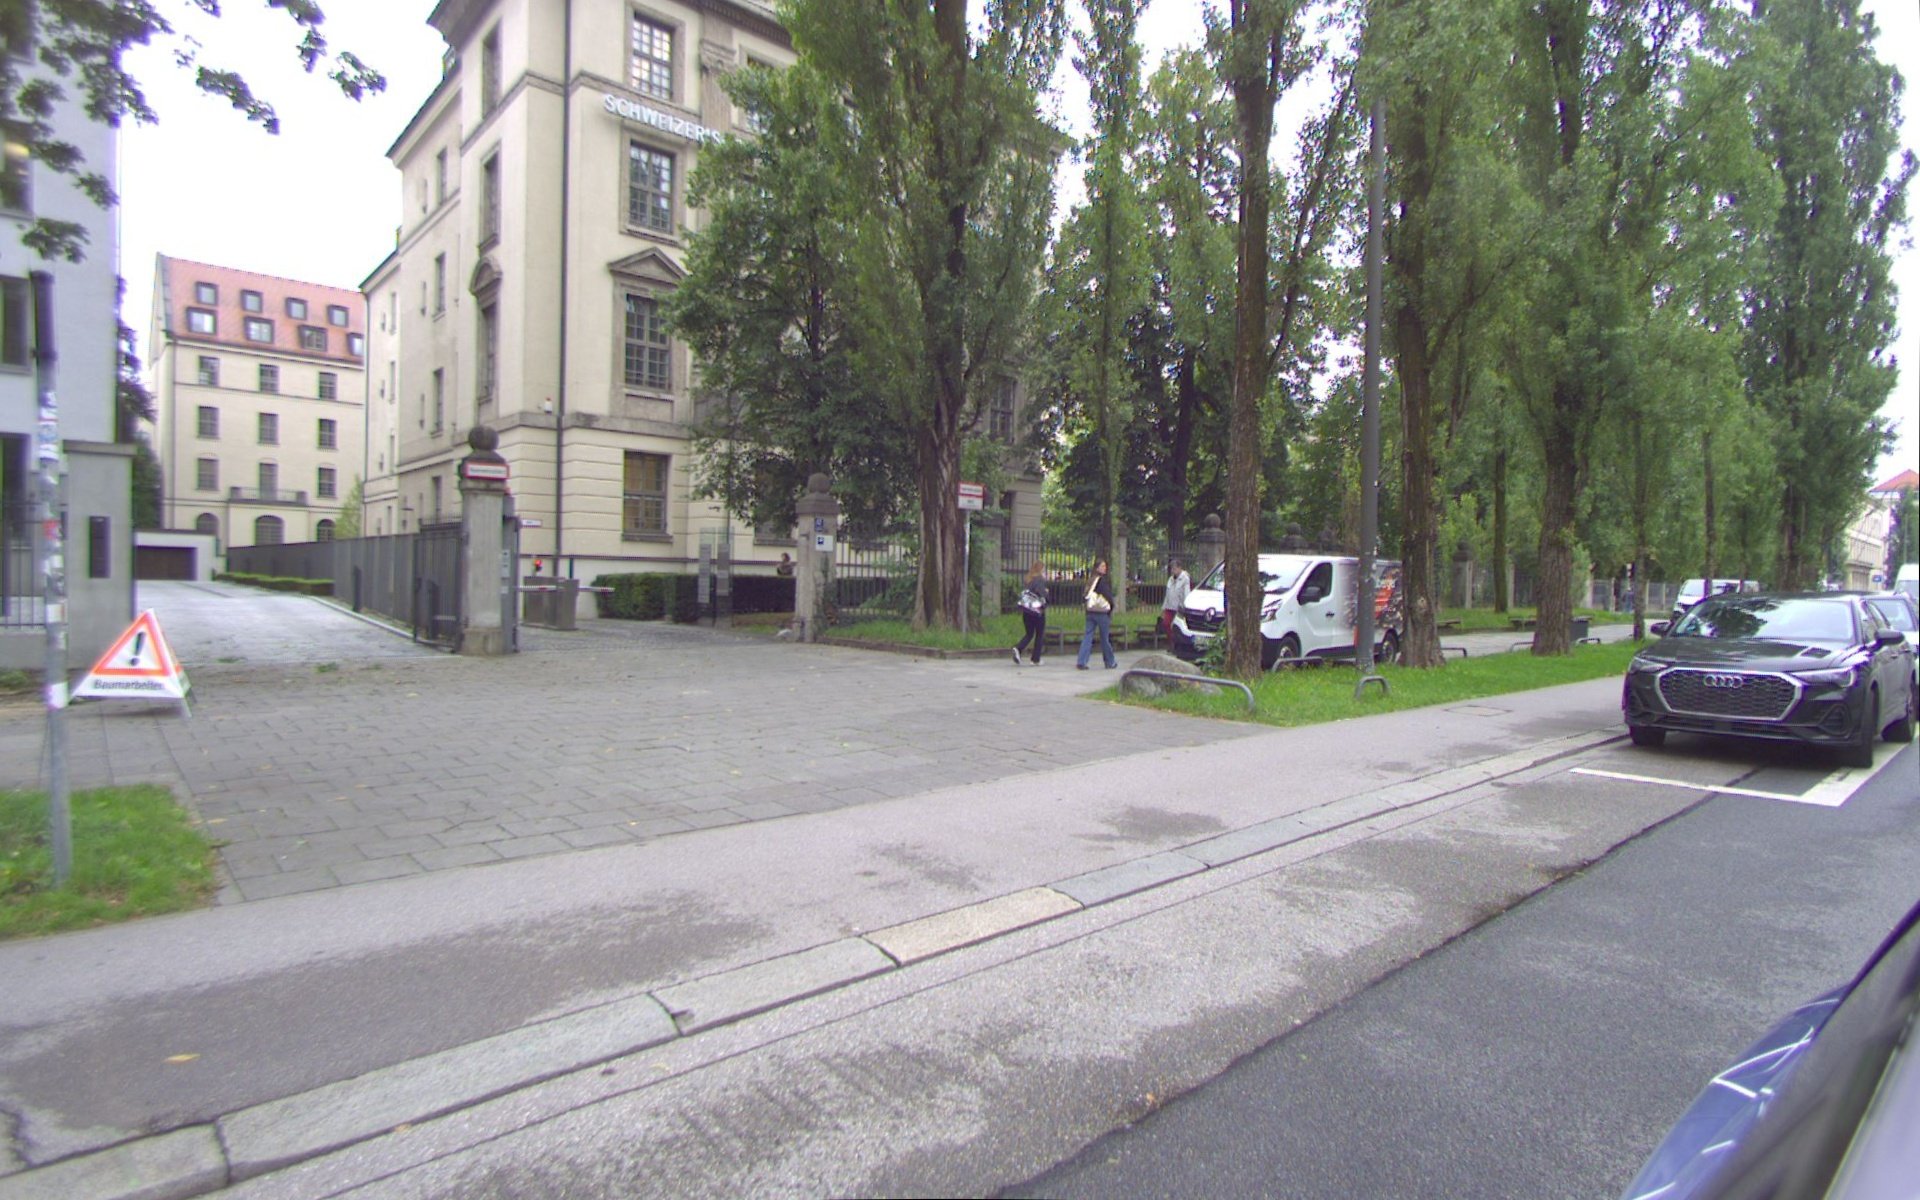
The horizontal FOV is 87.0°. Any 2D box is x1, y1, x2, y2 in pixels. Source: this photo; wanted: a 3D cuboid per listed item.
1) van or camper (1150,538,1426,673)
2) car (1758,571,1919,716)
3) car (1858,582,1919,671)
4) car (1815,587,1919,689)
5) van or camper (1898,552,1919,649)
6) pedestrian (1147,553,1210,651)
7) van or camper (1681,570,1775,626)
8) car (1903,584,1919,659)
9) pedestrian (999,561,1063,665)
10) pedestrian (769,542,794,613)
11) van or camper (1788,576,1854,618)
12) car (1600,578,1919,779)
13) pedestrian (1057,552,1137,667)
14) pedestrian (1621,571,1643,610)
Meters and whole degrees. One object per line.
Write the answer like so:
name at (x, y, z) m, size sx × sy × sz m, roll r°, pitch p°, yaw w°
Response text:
van or camper at (5.717, 0.075, 17.241) m, size 5.275 × 1.958 × 2.080 m, roll 0°, pitch 0°, yaw -41°
car at (12.562, 0.506, 13.909) m, size 4.500 × 1.696 × 1.746 m, roll 0°, pitch 1°, yaw -42°
car at (19.683, 0.509, 20.439) m, size 4.558 × 1.638 × 1.787 m, roll 0°, pitch 1°, yaw -42°
car at (16.080, 0.589, 17.249) m, size 4.221 × 1.539 × 1.705 m, roll 0°, pitch 1°, yaw -42°
van or camper at (28.350, 0.033, 28.557) m, size 6.306 × 2.572 × 2.142 m, roll 0°, pitch 1°, yaw -42°
pedestrian at (4.193, 0.027, 19.396) m, size 0.852 × 1.791 × 0.723 m, roll 0°, pitch 4°, yaw -41°
van or camper at (29.031, -0.077, 38.193) m, size 4.952 × 1.958 × 1.978 m, roll 0°, pitch 0°, yaw -42°
car at (23.580, 0.515, 23.810) m, size 4.344 × 1.669 × 1.786 m, roll 0°, pitch 1°, yaw -44°
pedestrian at (1.130, 0.194, 16.083) m, size 0.852 × 1.598 × 0.568 m, roll 0°, pitch 2°, yaw -42°
pedestrian at (-5.163, -0.658, 29.257) m, size 0.536 × 2.038 × 0.456 m, roll 0°, pitch 1°, yaw -41°
van or camper at (43.340, -0.152, 50.920) m, size 4.902 × 2.039 × 2.005 m, roll 0°, pitch 0°, yaw -43°
car at (8.225, 0.613, 10.138) m, size 4.386 × 1.560 × 1.884 m, roll 0°, pitch 1°, yaw -41°
pedestrian at (2.161, 0.131, 16.006) m, size 0.852 × 1.738 × 0.855 m, roll 0°, pitch 2°, yaw -42°
pedestrian at (35.638, -0.522, 53.692) m, size 0.898 × 2.038 × 0.946 m, roll 2°, pitch 1°, yaw 33°
